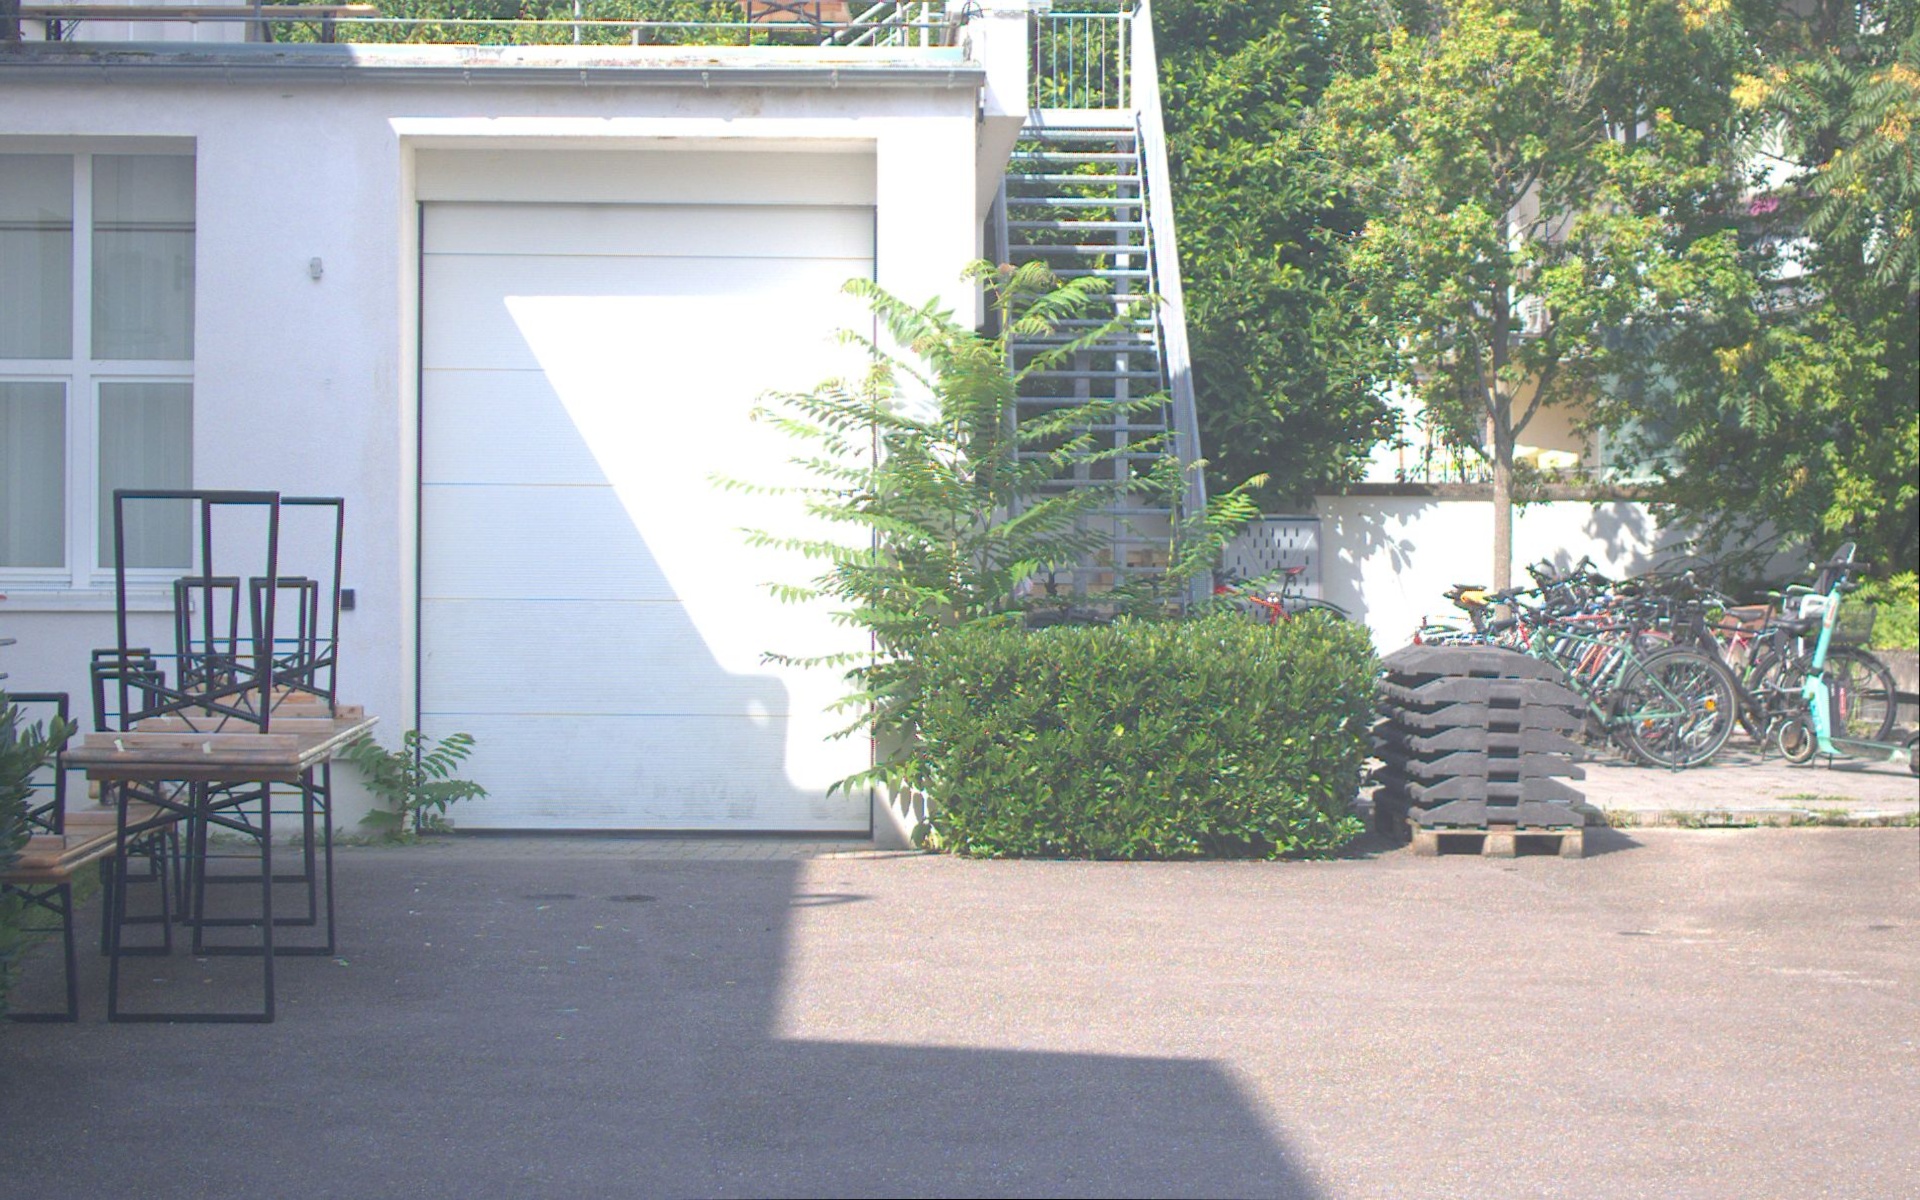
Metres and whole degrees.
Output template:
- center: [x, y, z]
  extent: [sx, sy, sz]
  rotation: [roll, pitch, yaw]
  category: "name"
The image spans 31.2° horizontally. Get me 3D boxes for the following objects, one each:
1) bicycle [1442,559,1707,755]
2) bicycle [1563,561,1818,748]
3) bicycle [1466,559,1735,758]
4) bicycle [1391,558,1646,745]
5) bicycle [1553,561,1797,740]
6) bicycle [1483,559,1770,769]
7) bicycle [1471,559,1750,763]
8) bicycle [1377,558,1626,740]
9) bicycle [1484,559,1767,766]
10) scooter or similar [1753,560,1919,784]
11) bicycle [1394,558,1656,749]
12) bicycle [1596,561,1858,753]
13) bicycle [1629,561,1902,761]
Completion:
- center: [3.869, 0.355, 21.653]
  extent: [1.624, 1.210, 0.327]
  rotation: [0, 1, 12]
  category: "bicycle"
- center: [4.802, 0.354, 22.645]
  extent: [1.624, 1.210, 0.424]
  rotation: [0, 1, 11]
  category: "bicycle"
- center: [3.957, 0.360, 21.291]
  extent: [1.623, 1.210, 0.327]
  rotation: [0, 1, 9]
  category: "bicycle"
- center: [3.728, 0.337, 22.962]
  extent: [1.623, 1.210, 0.424]
  rotation: [-1, 1, -7]
  category: "bicycle"
- center: [4.916, 0.343, 23.674]
  extent: [1.624, 1.210, 0.424]
  rotation: [0, 1, 11]
  category: "bicycle"
- center: [3.914, 0.373, 20.223]
  extent: [1.623, 1.210, 0.327]
  rotation: [0, 1, 0]
  category: "bicycle"
- center: [3.934, 0.366, 20.839]
  extent: [1.623, 1.210, 0.327]
  rotation: [0, 1, 0]
  category: "bicycle"
- center: [3.706, 0.329, 23.564]
  extent: [1.623, 1.210, 0.424]
  rotation: [-1, 1, -6]
  category: "bicycle"
- center: [3.972, 0.370, 20.546]
  extent: [1.623, 1.210, 0.327]
  rotation: [0, 1, 0]
  category: "bicycle"
- center: [5.253, 0.399, 20.006]
  extent: [0.378, 1.256, 1.349]
  rotation: [-1, 1, -33]
  category: "scooter or similar"
- center: [3.662, 0.344, 22.326]
  extent: [1.623, 1.210, 0.424]
  rotation: [-1, 1, -2]
  category: "bicycle"
- center: [4.913, 0.363, 22.072]
  extent: [1.624, 1.210, 0.424]
  rotation: [0, 1, 12]
  category: "bicycle"
- center: [4.964, 0.374, 21.211]
  extent: [1.624, 1.210, 0.327]
  rotation: [0, 1, 14]
  category: "bicycle"
